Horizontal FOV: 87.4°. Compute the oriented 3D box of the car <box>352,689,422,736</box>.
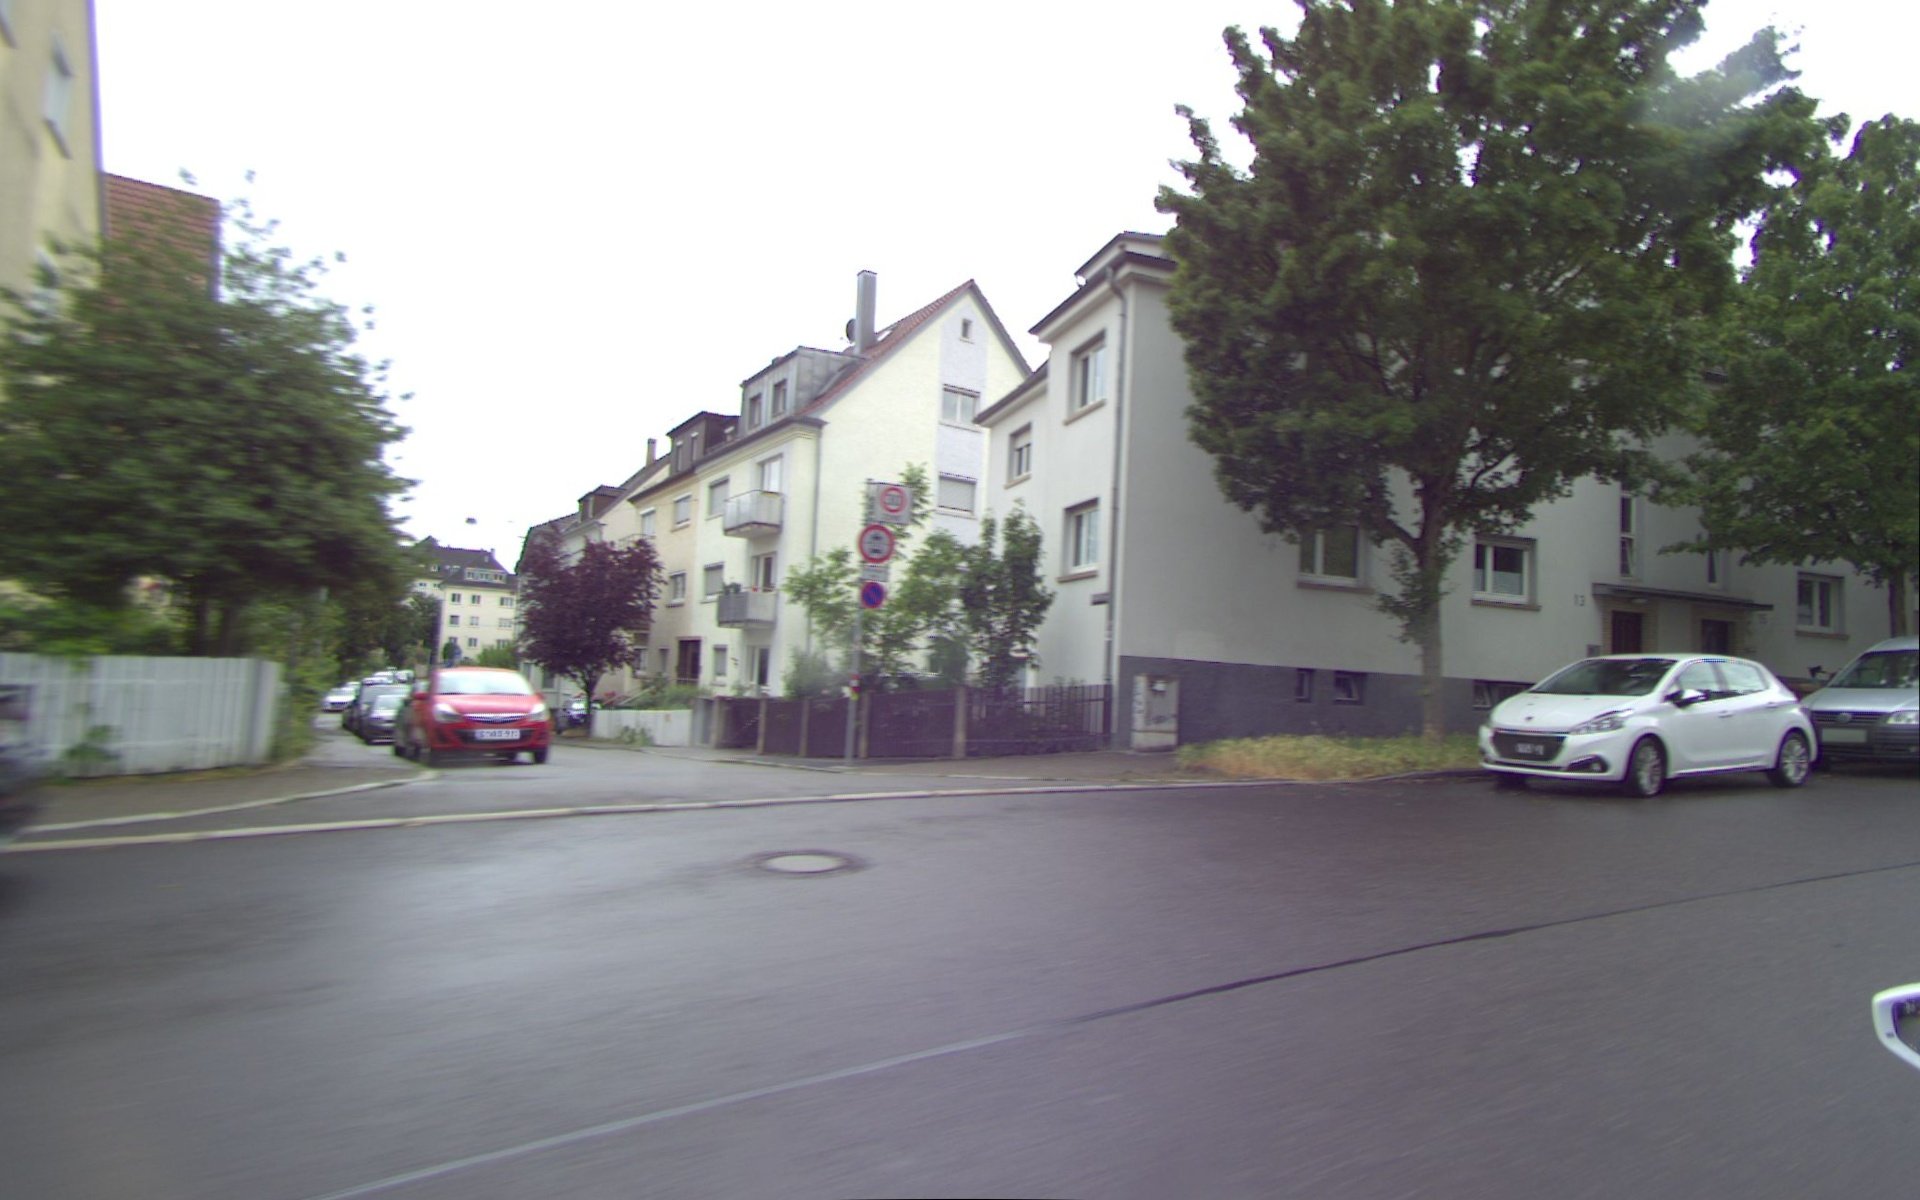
[{"bbox_3d":[-20.543,4.041,35.954,1.978,1.550,3.969,3,-8,-32],"label":"car"}]

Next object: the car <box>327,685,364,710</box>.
[{"bbox_3d":[-40.857,6.499,66.740,1.978,1.550,3.969,3,-8,-32],"label":"car"}]

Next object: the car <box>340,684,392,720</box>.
[{"bbox_3d":[-28.213,4.876,47.648,1.978,1.550,3.969,3,-8,-32],"label":"car"}]

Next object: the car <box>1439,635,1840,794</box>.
[{"bbox_3d":[7.750,1.273,11.450,4.286,1.533,1.780,3,-6,-24],"label":"car"}]

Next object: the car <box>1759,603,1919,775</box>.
[{"bbox_3d":[13.200,1.150,13.385,4.478,2.027,1.912,2,-2,-19],"label":"car"}]

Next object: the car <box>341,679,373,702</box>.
[{"bbox_3d":[-45.749,6.875,76.182,1.978,1.550,3.969,3,-8,-32],"label":"car"}]

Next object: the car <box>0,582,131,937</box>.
[{"bbox_3d":[-6.350,0.651,4.025,4.470,1.561,1.764,2,-1,-34],"label":"car"}]

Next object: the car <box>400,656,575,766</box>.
[{"bbox_3d":[-7.459,1.767,15.670,1.978,1.461,3.969,3,-8,-32],"label":"car"}]

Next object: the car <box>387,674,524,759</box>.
[{"bbox_3d":[-9.938,2.297,19.644,1.978,1.461,3.969,3,-8,-32],"label":"car"}]

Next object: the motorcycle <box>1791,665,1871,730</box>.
[{"bbox_3d":[15.648,1.731,18.037,1.597,1.113,0.410,1,-3,-24],"label":"motorcycle"}]

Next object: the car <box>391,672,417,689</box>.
[{"bbox_3d":[-59.734,8.660,107.899,1.971,1.550,3.983,2,-8,-22],"label":"car"}]

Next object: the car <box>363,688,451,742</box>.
[{"bbox_3d":[-16.304,3.403,29.528,1.978,1.461,3.969,3,-8,-32],"label":"car"}]
